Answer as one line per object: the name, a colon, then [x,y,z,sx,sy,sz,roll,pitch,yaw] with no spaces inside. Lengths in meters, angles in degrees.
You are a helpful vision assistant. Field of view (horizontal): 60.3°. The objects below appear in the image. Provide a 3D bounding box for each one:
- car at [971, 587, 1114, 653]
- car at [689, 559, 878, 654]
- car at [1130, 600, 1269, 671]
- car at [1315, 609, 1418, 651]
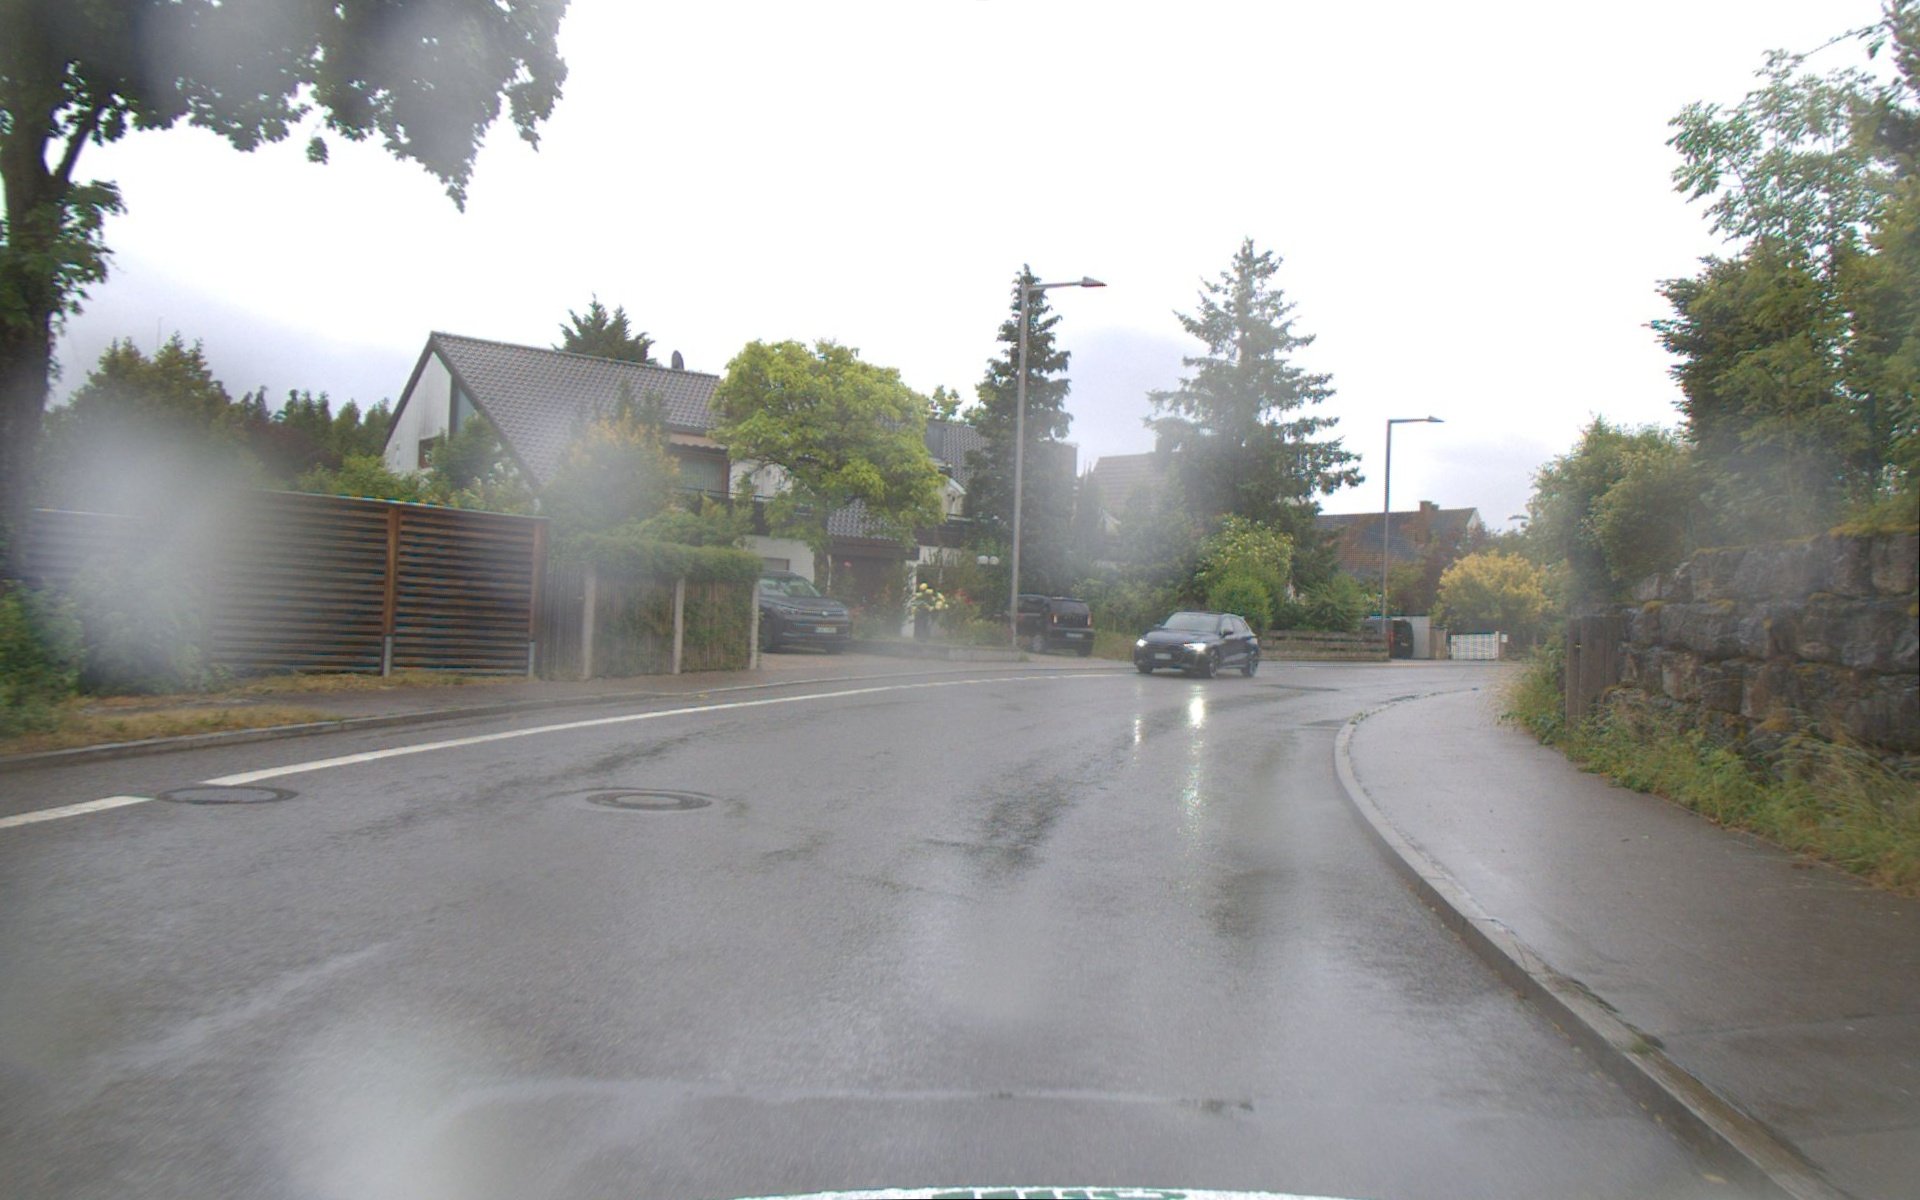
car: [2.096,0.494,43.101,1.912,1.413,3.964,5,0,-28]
car: [-3.769,0.117,34.939,1.997,1.659,3.941,4,1,-42]
car: [5.513,0.786,37.640,1.744,1.445,4.158,3,0,29]
car: [17.634,1.305,71.815,1.981,1.648,3.943,2,0,-40]
